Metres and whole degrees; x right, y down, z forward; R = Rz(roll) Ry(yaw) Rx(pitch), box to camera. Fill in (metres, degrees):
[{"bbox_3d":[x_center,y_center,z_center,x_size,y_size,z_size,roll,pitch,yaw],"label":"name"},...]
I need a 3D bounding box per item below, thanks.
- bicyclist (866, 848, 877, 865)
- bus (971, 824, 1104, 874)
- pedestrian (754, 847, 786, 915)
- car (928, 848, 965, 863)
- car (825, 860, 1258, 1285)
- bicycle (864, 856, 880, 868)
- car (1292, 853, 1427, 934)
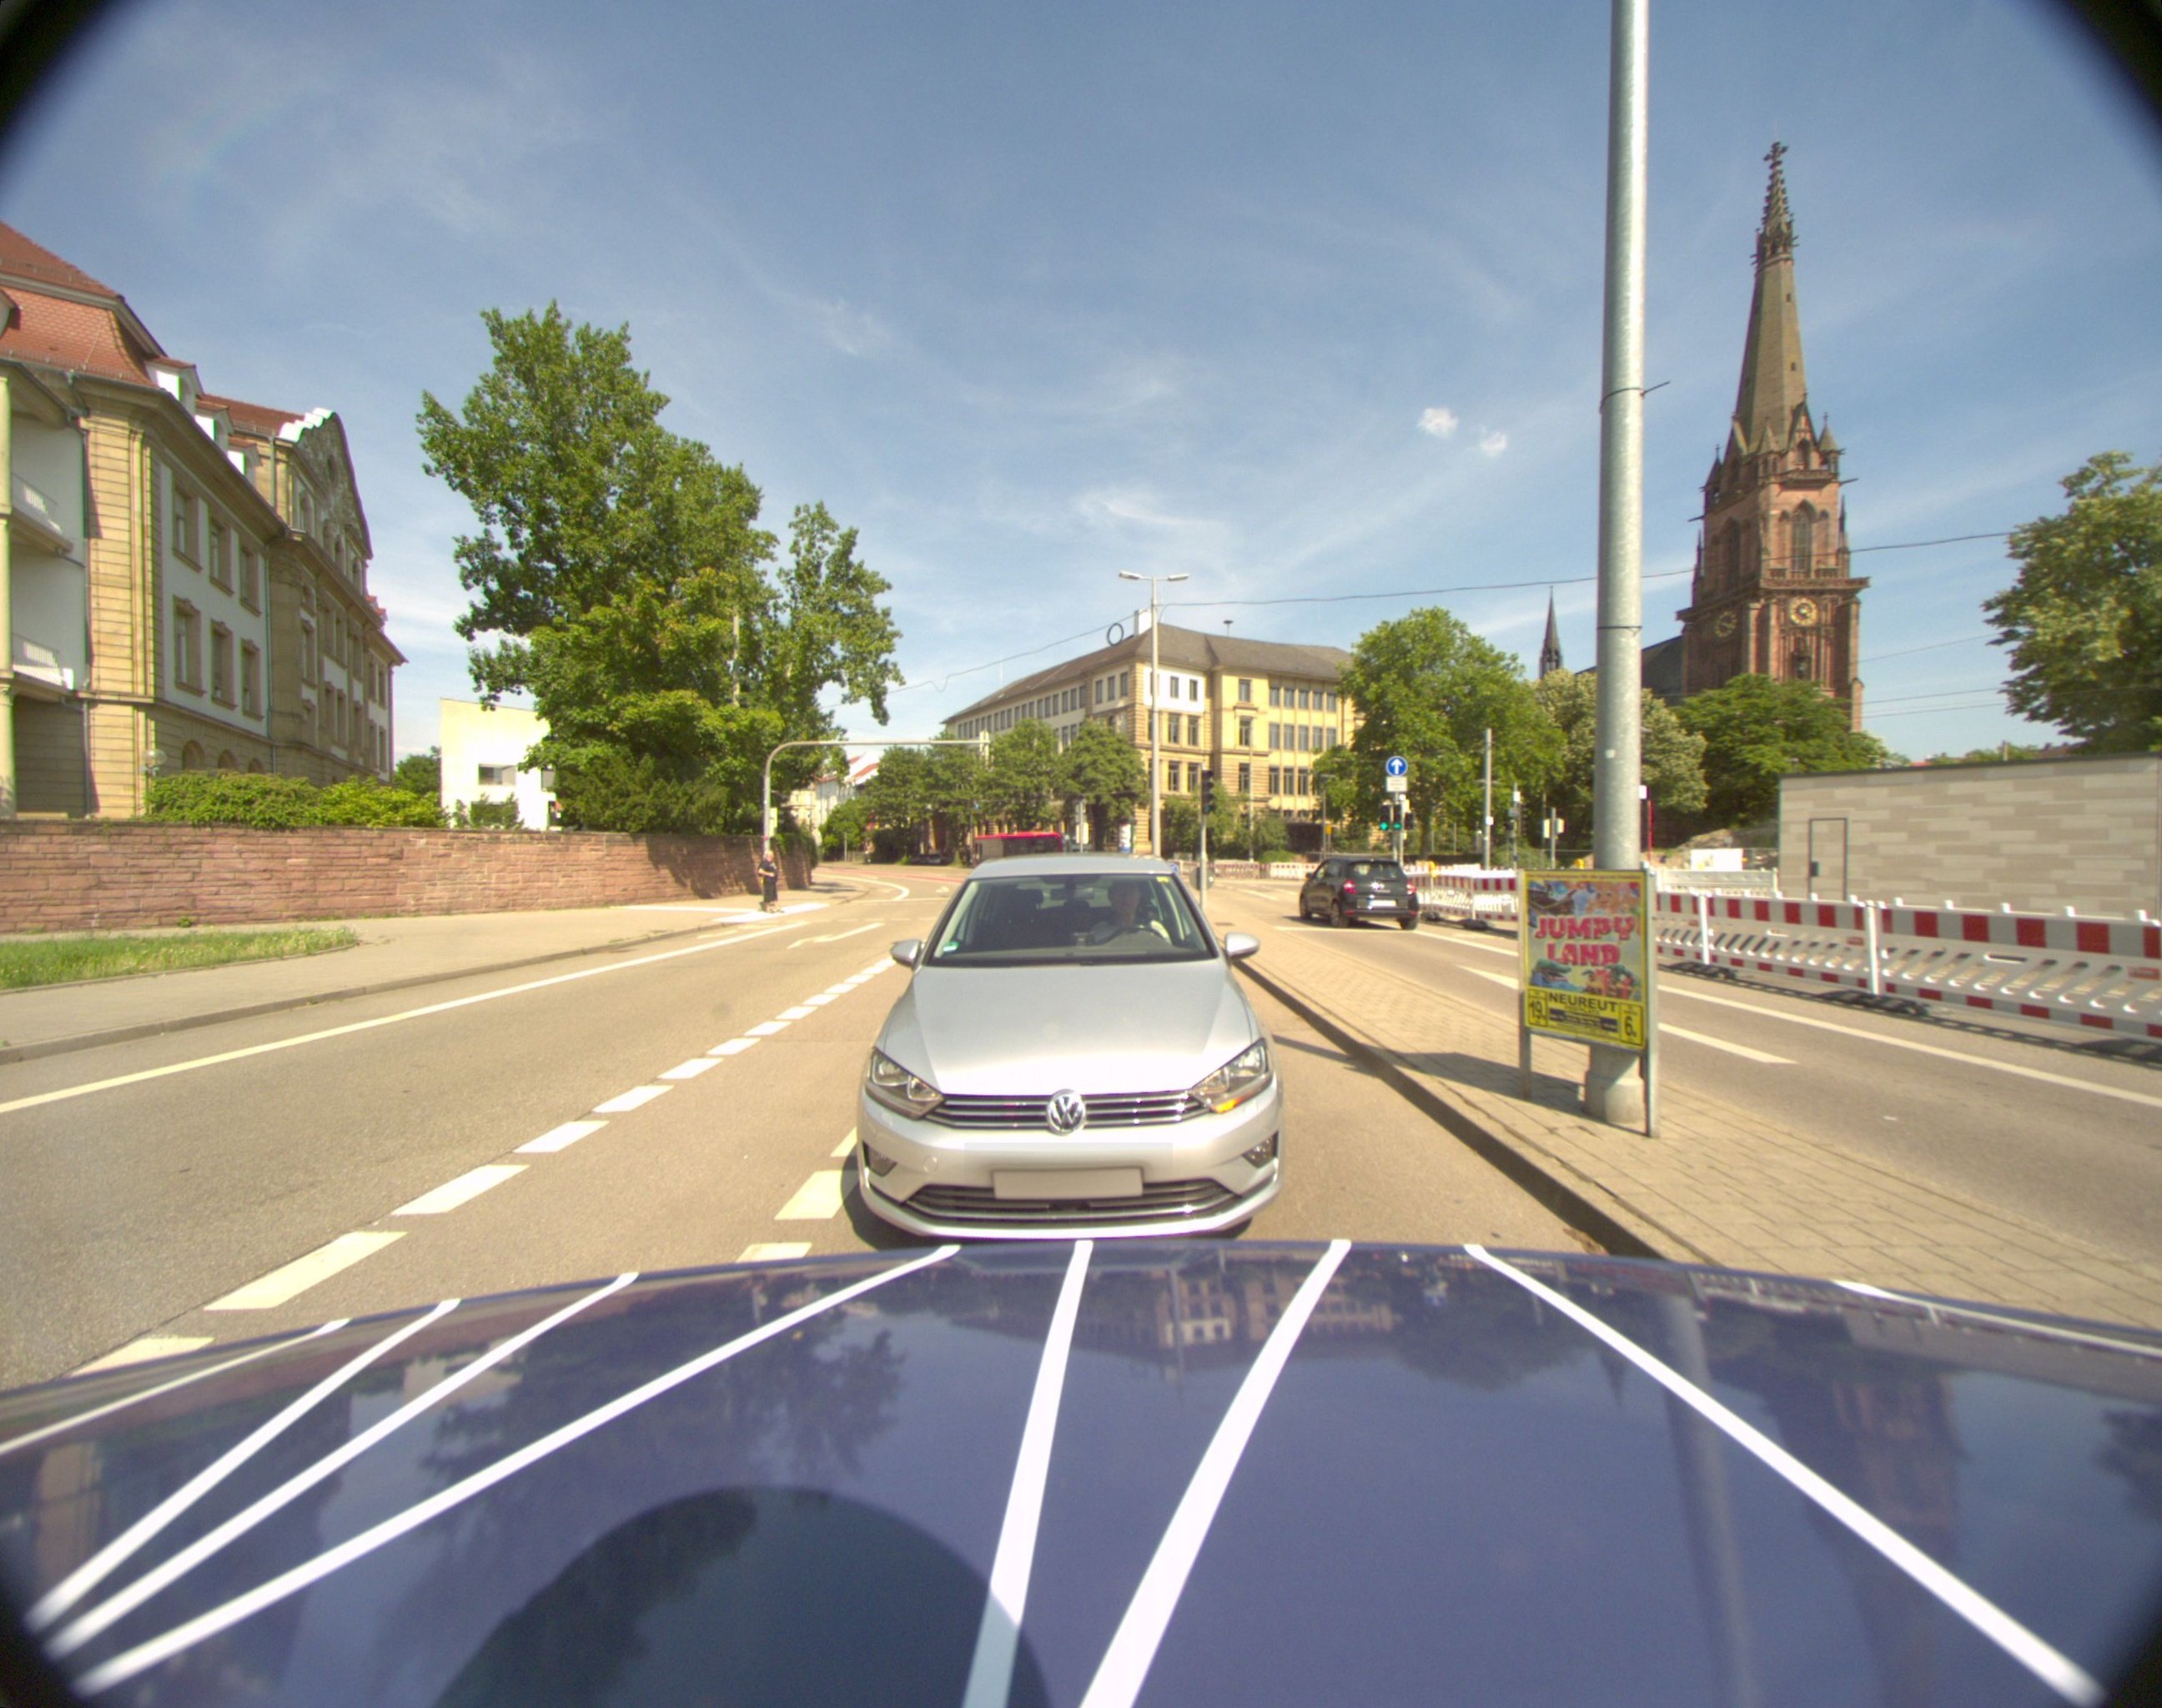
[{"bbox_3d":[-25.991,0.283,94.219,0.860,2.002,1.233,-3,1,-32],"label":"bicyclist"},{"bbox_3d":[-3.401,-0.263,52.695,3.138,3.076,12.381,-3,1,-35],"label":"bus"},{"bbox_3d":[-9.193,0.783,22.463,0.796,2.002,0.615,0,1,-14],"label":"pedestrian"},{"bbox_3d":[-16.568,0.179,93.695,4.006,1.653,1.994,-3,4,-35],"label":"car"},{"bbox_3d":[-0.063,0.866,5.044,1.687,1.577,4.152,0,0,3],"label":"car"},{"bbox_3d":[-25.914,0.955,94.174,0.832,1.394,3.461,-3,1,-32],"label":"bicycle"},{"bbox_3d":[6.055,0.787,16.971,1.665,1.565,3.632,1,0,0],"label":"car"}]
